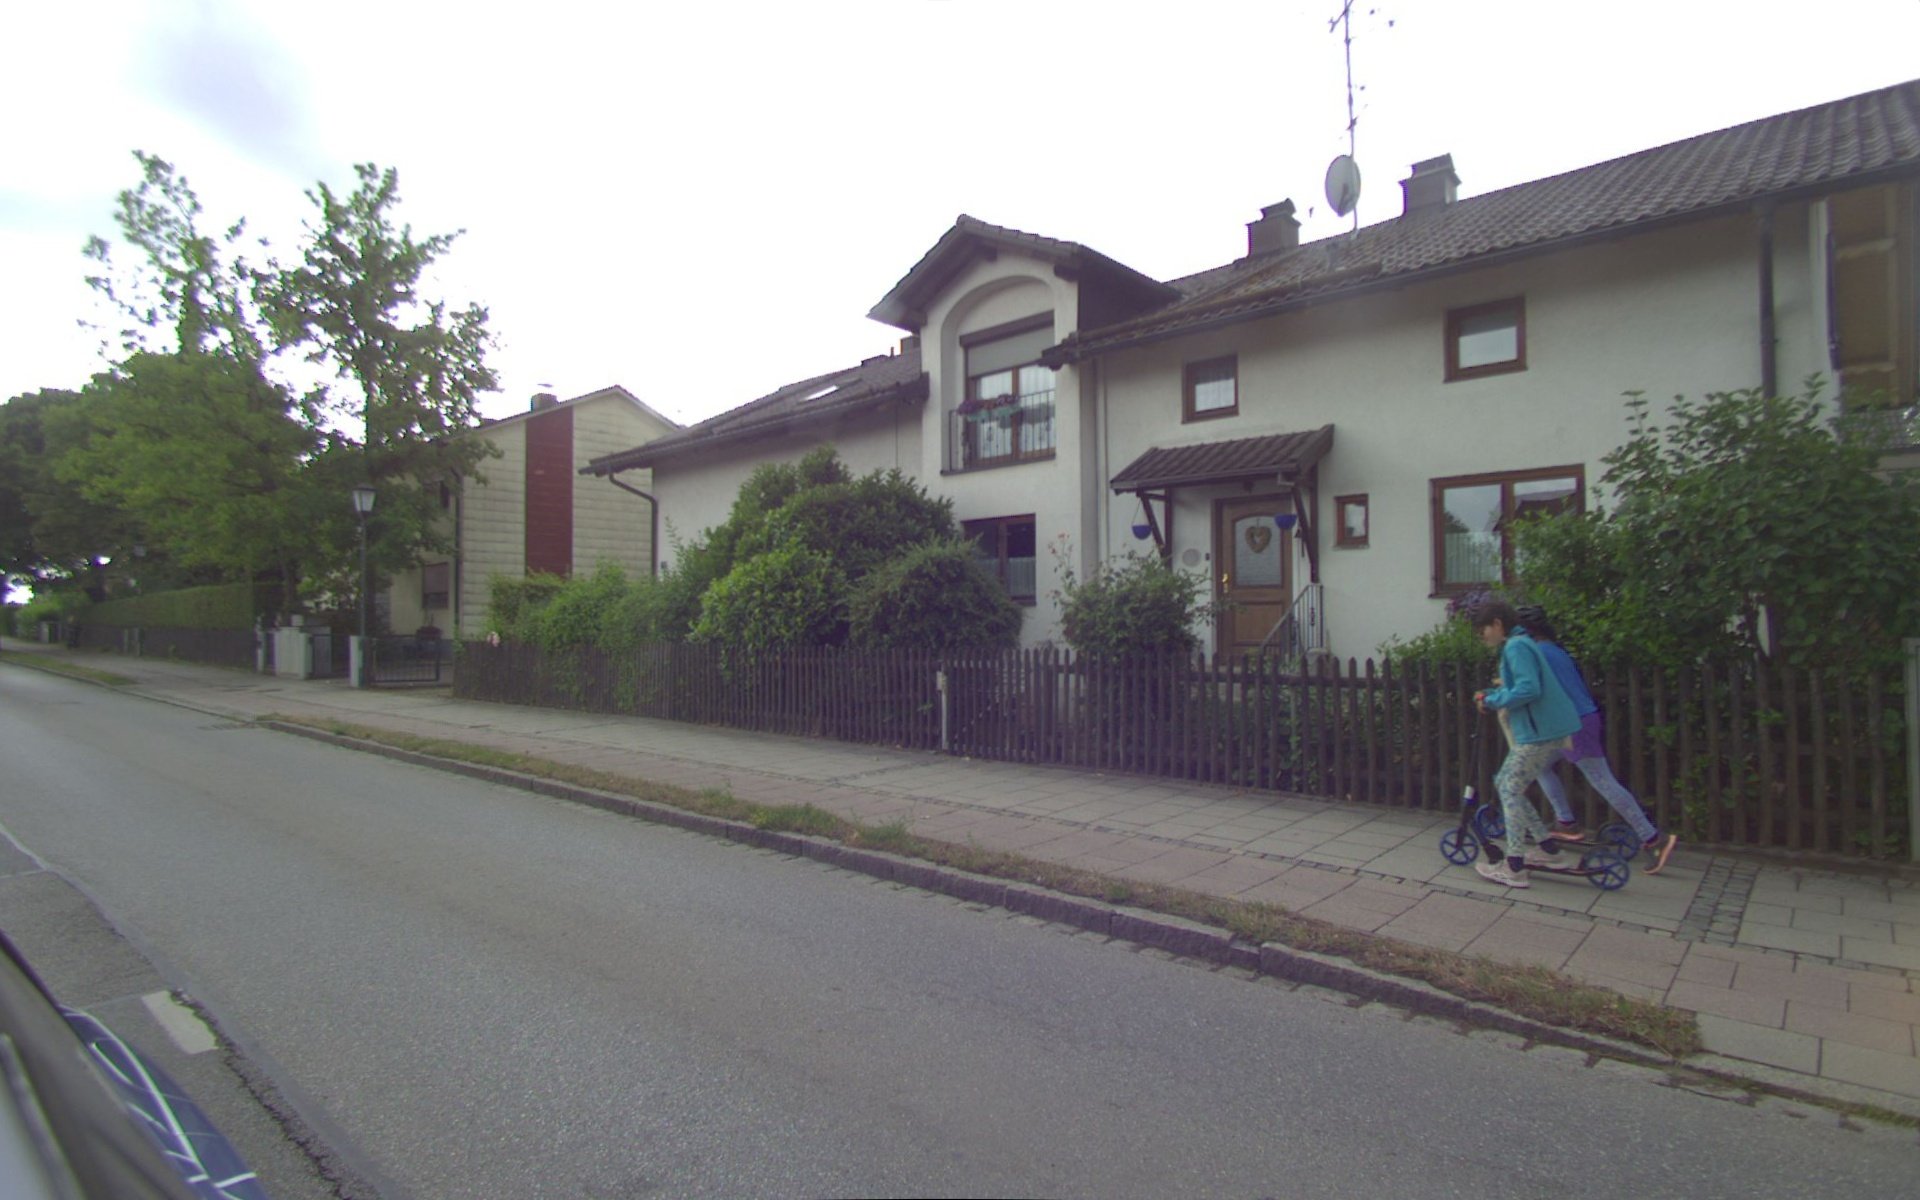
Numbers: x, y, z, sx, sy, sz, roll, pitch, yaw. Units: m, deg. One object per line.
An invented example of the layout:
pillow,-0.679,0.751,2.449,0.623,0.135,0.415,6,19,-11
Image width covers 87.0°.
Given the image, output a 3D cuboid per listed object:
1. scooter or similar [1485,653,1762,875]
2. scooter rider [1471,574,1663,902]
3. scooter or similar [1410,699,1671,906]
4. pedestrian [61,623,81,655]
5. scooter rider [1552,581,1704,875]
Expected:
scooter or similar,3.643,0.835,5.595,1.178,1.045,0.654,-2,-2,43
scooter rider,3.038,0.639,5.078,0.716,1.501,0.497,-2,-1,43
scooter or similar,2.945,0.979,5.171,1.061,0.856,0.516,-1,-1,42
pedestrian,-41.088,1.797,46.754,0.563,1.448,0.622,-1,-2,41
scooter rider,3.671,0.653,5.558,0.580,1.484,0.655,-2,-1,42
